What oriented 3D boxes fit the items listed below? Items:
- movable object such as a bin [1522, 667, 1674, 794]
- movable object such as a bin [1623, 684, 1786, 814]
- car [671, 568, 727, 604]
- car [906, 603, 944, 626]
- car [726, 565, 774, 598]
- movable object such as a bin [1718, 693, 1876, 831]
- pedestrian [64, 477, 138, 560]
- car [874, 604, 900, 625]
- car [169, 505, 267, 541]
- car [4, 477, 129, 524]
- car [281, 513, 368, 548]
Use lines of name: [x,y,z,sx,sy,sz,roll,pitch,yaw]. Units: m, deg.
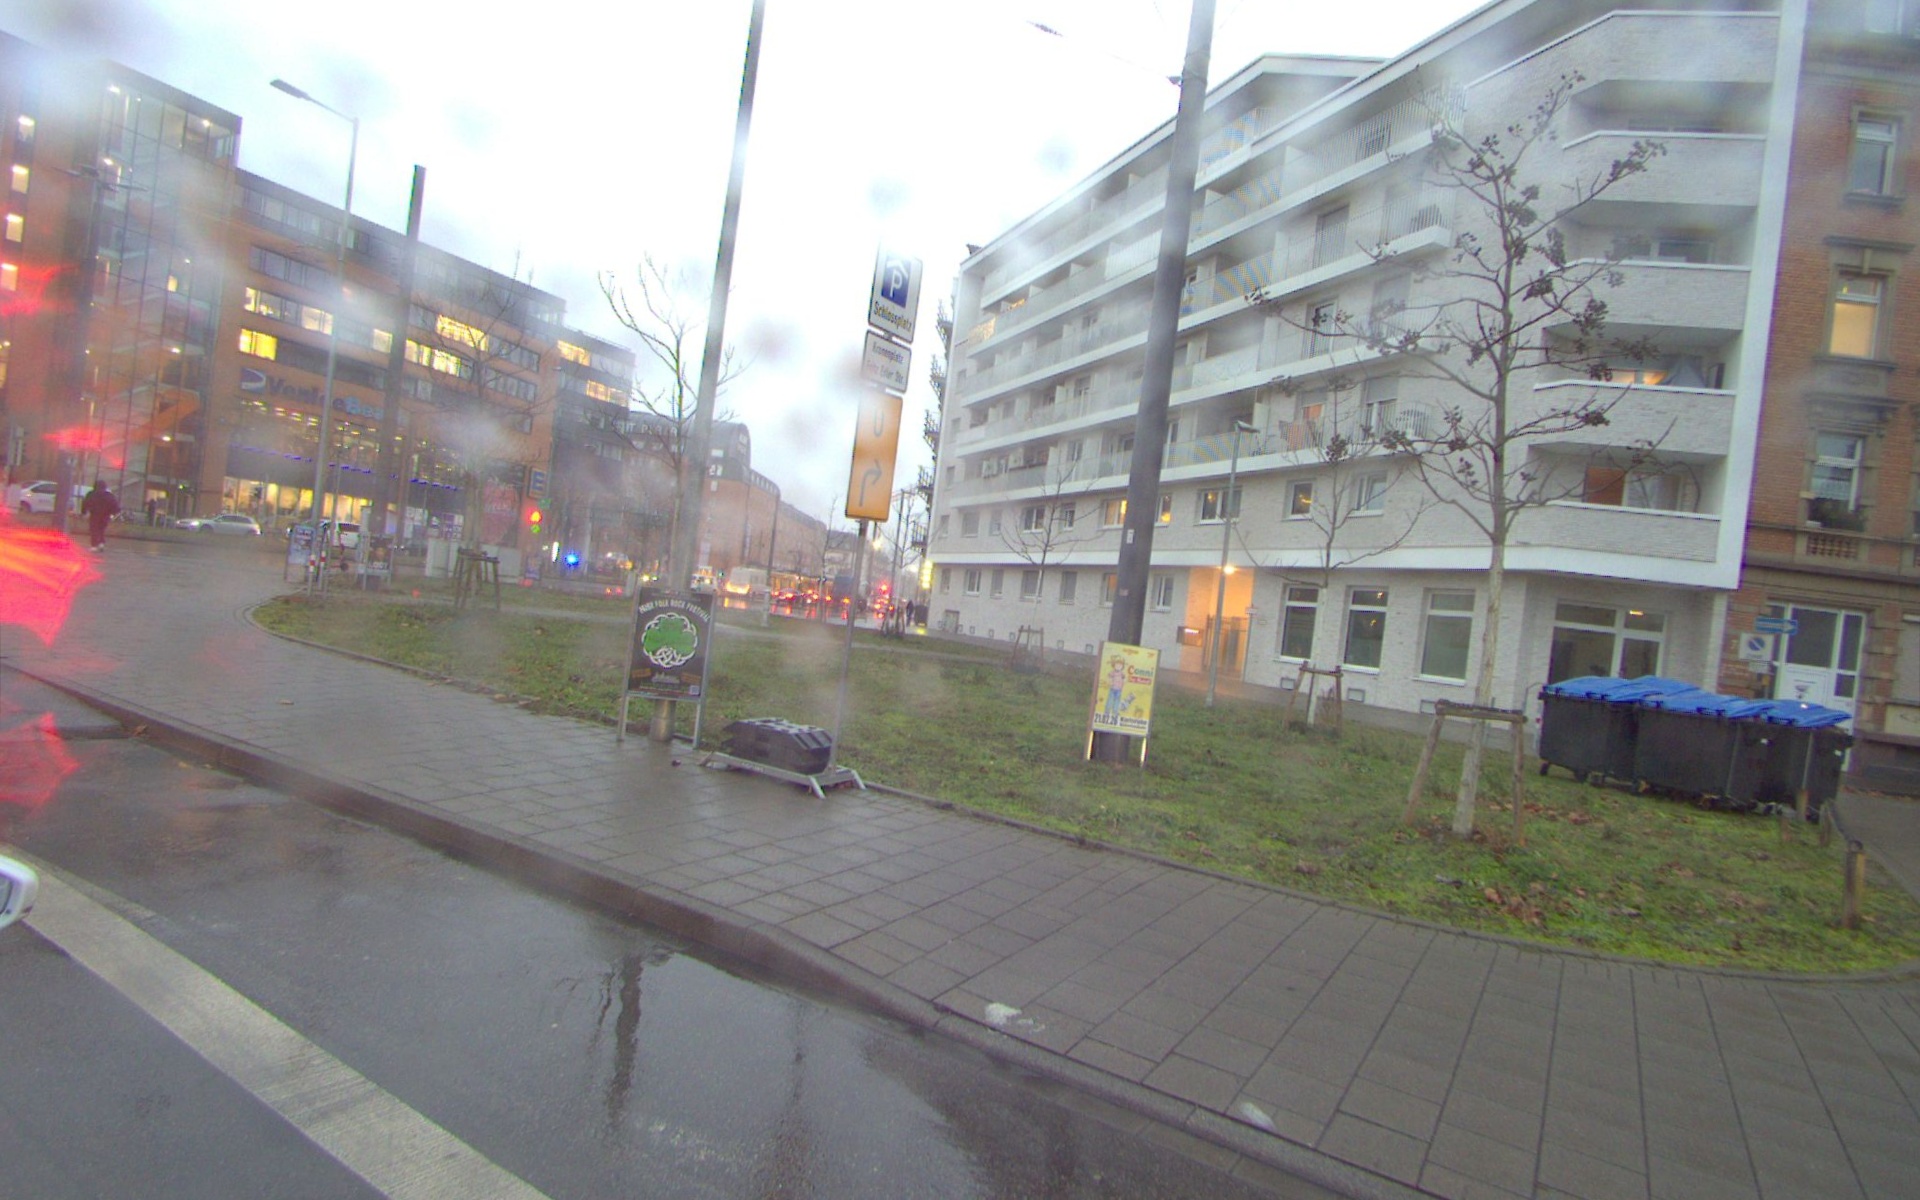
movable object such as a bin: [8.994,1.818,14.232,1.017,1.514,1.322,7,1,-22]
movable object such as a bin: [9.596,1.906,13.009,1.003,1.434,1.218,6,1,-21]
car: [-19.834,-1.044,76.657,1.963,2.036,4.003,8,-2,22]
car: [-3.395,1.449,98.507,1.798,1.873,4.682,6,-1,23]
car: [-17.508,-1.523,84.146,1.962,2.036,4.957,8,-2,11]
movable object such as a bin: [10.790,2.067,13.004,1.021,1.507,1.039,9,-2,-12]
pedestrian: [-22.527,-2.116,26.417,1.164,1.945,0.890,10,-2,-35]
car: [-7.401,1.491,102.713,1.662,1.636,3.470,8,-2,10]
car: [-43.723,-4.507,59.382,1.767,1.406,4.227,7,-1,25]
car: [-46.386,-5.138,52.338,1.767,1.614,4.431,7,-1,25]
car: [-41.331,-4.490,65.544,1.767,1.553,4.444,7,-1,25]
